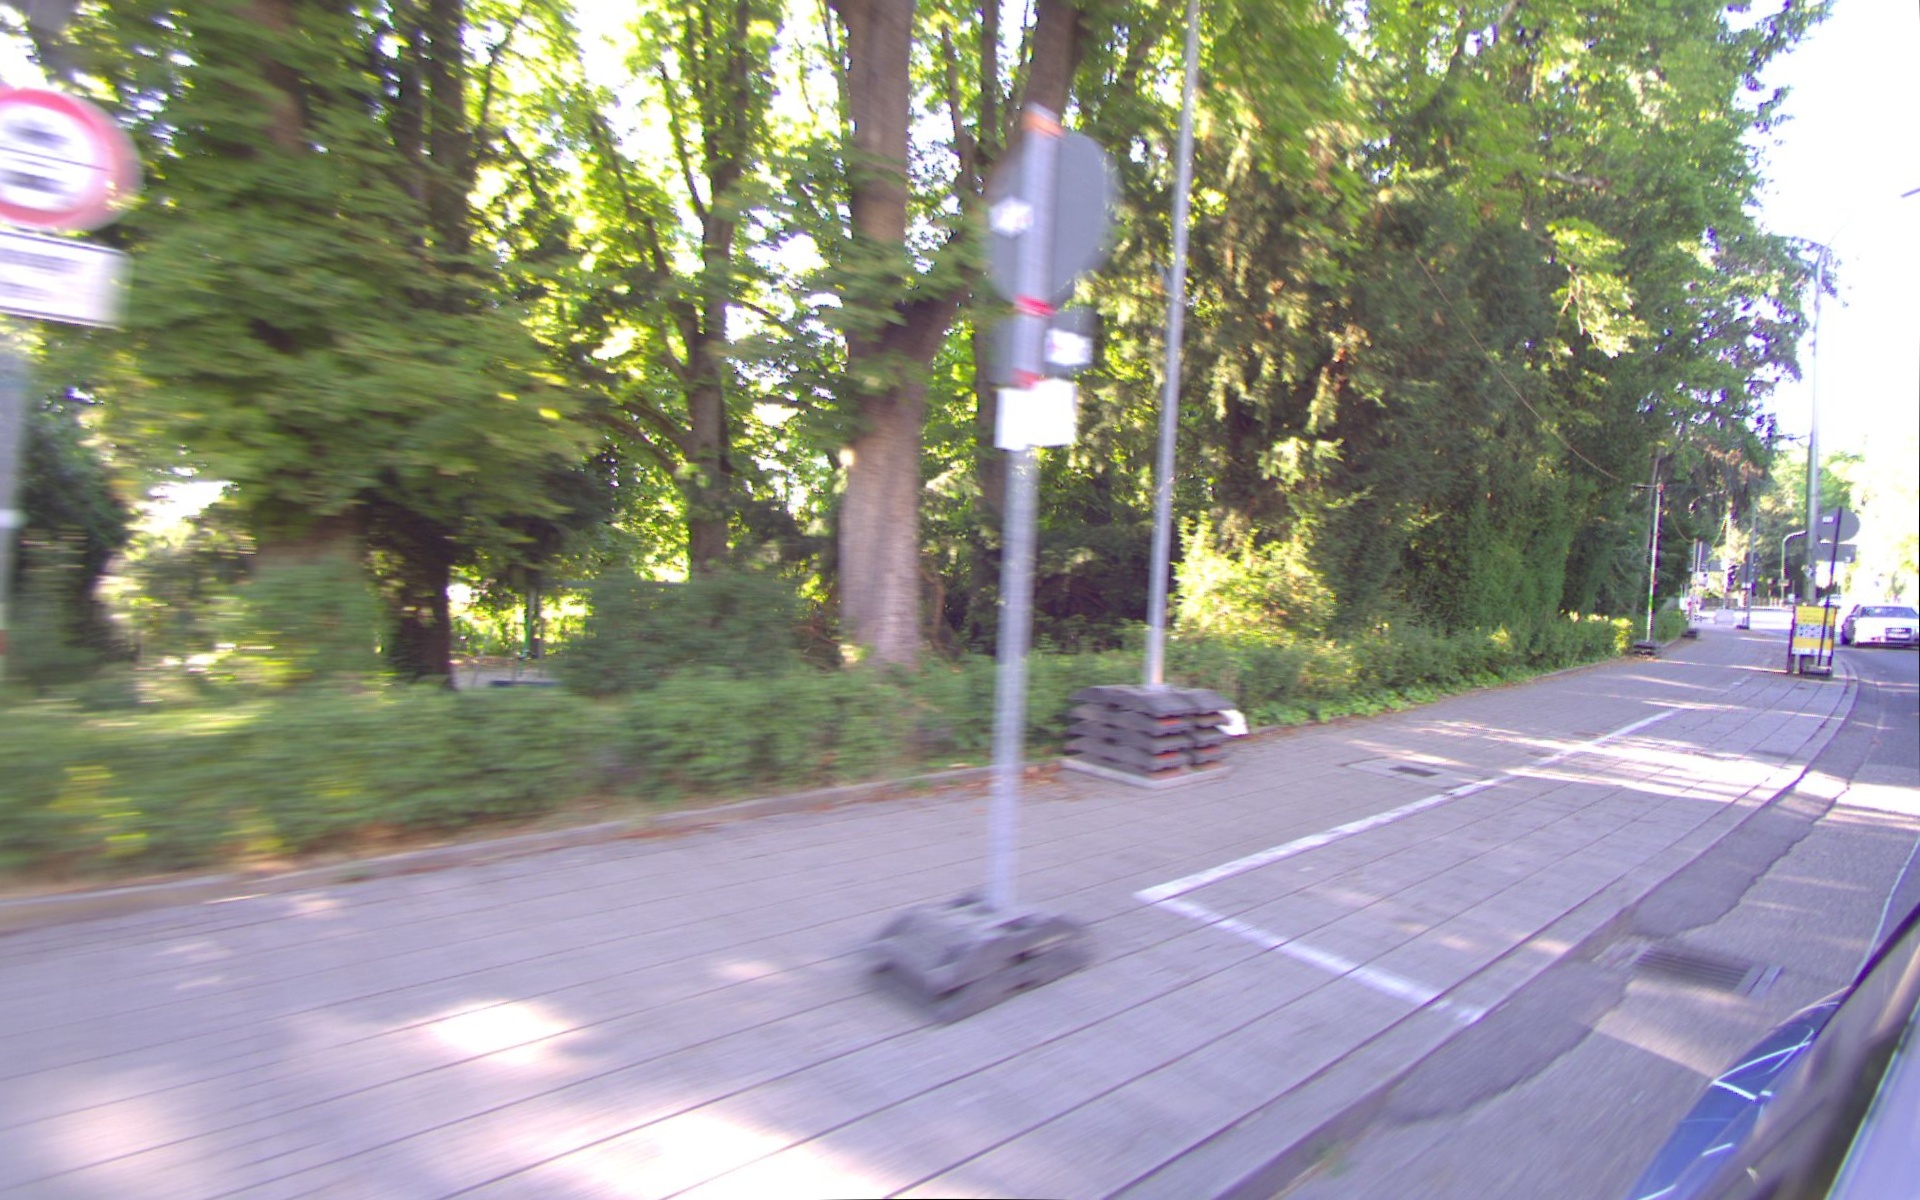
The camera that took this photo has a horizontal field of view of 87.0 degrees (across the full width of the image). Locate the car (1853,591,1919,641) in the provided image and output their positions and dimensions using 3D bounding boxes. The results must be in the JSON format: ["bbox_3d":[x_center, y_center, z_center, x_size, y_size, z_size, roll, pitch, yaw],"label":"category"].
[{"bbox_3d":[30.179,0.476,32.606,1.652,1.495,3.637,1,1,35],"label":"car"}]
